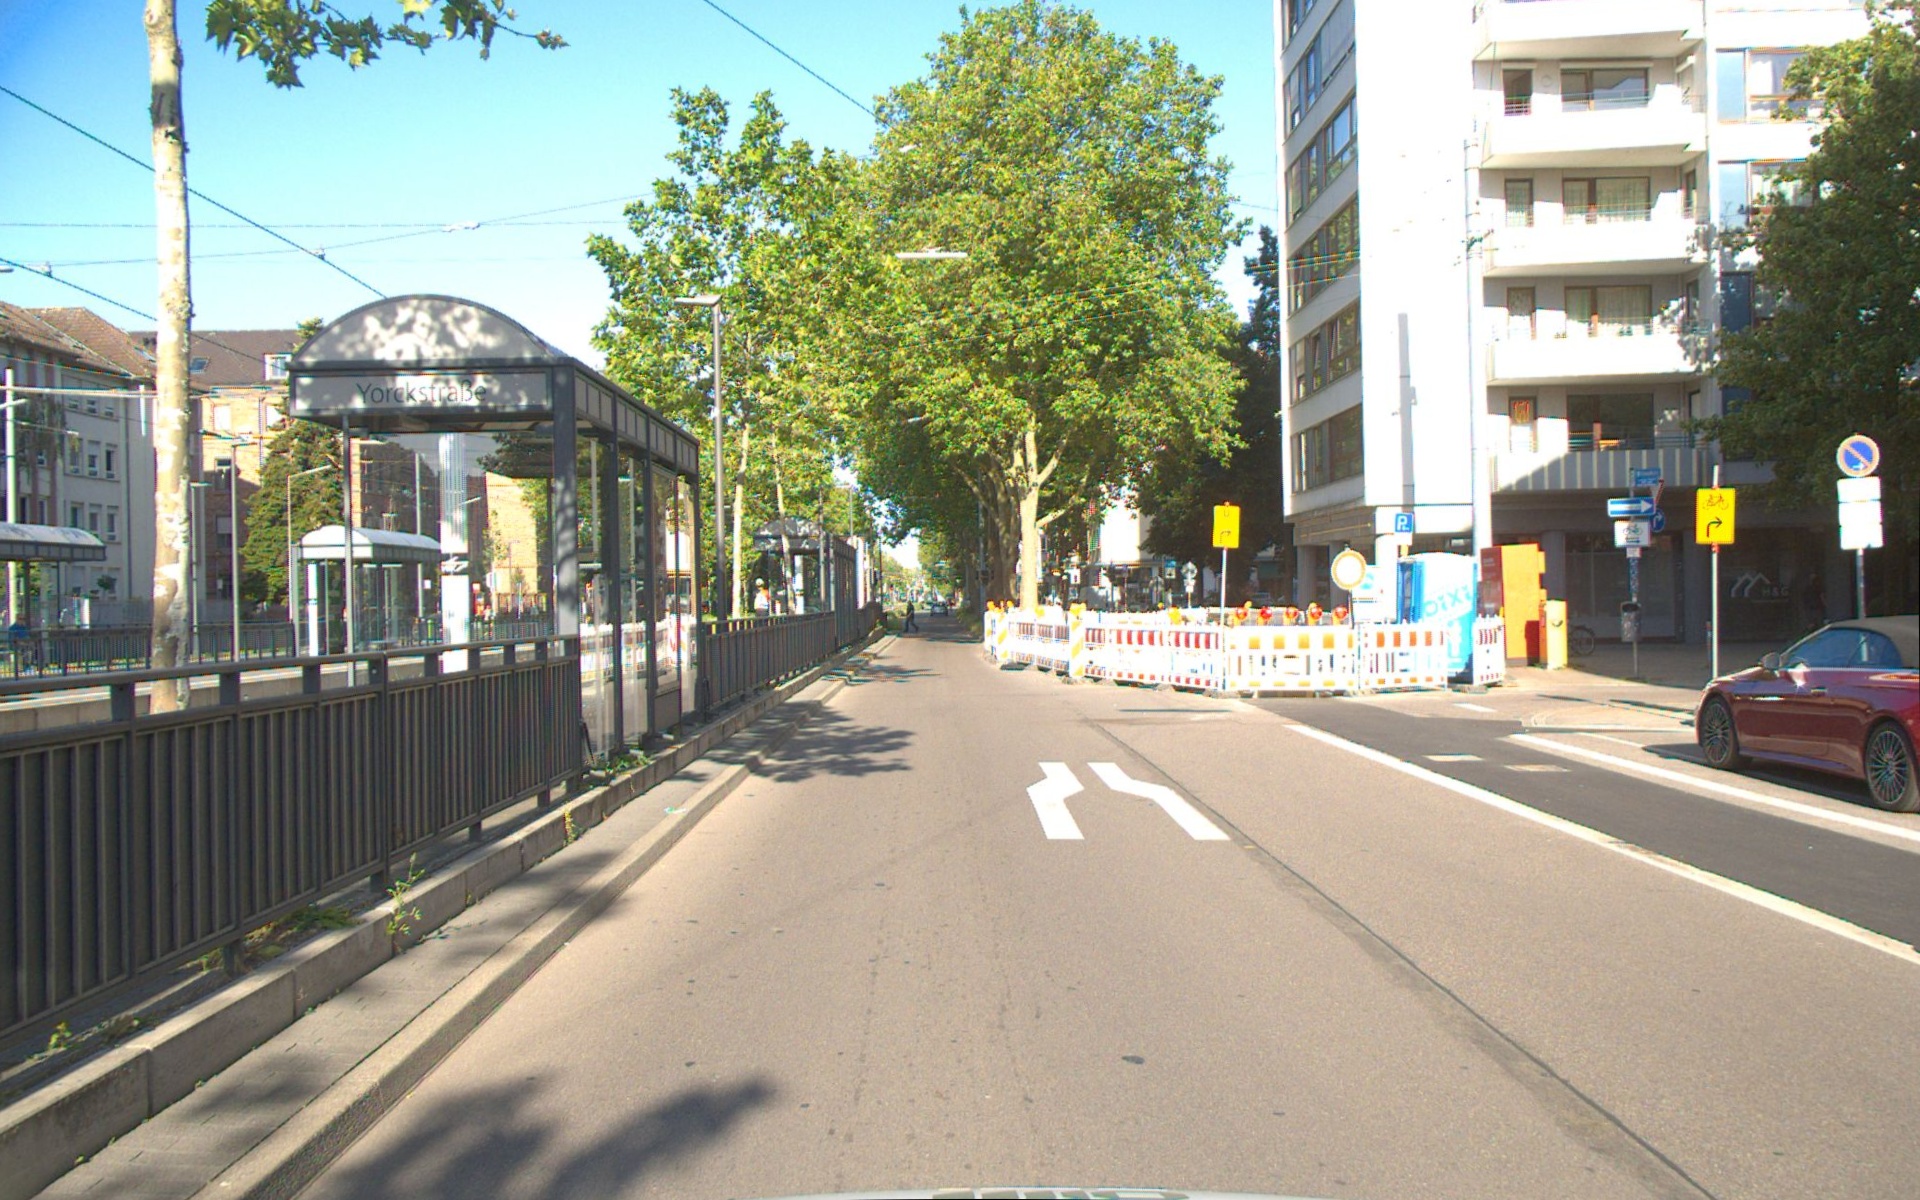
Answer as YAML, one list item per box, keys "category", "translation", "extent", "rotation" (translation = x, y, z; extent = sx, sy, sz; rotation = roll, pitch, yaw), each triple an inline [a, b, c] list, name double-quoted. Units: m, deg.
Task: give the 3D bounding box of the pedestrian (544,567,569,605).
- category: "pedestrian"
  translation: [-19.082, -0.675, 78.203]
  extent: [0.933, 1.766, 0.730]
  rotation: [-1, 0, 1]

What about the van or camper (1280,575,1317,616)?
- category: "van or camper"
  translation: [23.228, -0.318, 113.336]
  extent: [2.101, 2.682, 5.592]
  rotation: [-1, 0, 15]

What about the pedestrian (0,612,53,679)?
- category: "pedestrian"
  translation: [-20.193, 0.966, 35.523]
  extent: [0.955, 1.400, 0.879]
  rotation: [-1, 0, -2]

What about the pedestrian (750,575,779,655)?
- category: "pedestrian"
  translation: [-5.105, 0.382, 43.134]
  extent: [0.654, 2.049, 0.716]
  rotation: [0, 0, 0]

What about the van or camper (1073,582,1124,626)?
- category: "van or camper"
  translation: [7.694, 0.225, 92.368]
  extent: [2.244, 2.326, 5.821]
  rotation: [-1, 0, -1]

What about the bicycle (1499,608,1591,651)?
- category: "bicycle"
  translation: [13.516, 0.688, 38.279]
  extent: [1.985, 0.959, 1.018]
  rotation: [-1, 0, 19]

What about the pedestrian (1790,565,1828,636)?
- category: "pedestrian"
  translation: [22.991, 0.022, 44.798]
  extent: [0.642, 1.887, 0.678]
  rotation: [2, -1, 1]

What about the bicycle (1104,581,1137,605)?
- category: "bicycle"
  translation: [8.589, -0.366, 88.606]
  extent: [1.572, 1.285, 0.962]
  rotation: [-1, 0, -6]

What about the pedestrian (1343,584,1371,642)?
- category: "pedestrian"
  translation: [12.742, 0.410, 53.051]
  extent: [0.676, 1.847, 0.665]
  rotation: [-2, 0, -1]

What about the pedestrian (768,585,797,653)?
- category: "pedestrian"
  translation: [-4.769, 0.504, 44.500]
  extent: [0.668, 1.815, 0.754]
  rotation: [0, 0, 0]

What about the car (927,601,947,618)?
- category: "car"
  translation: [-2.293, 0.956, 167.436]
  extent: [1.980, 1.691, 3.999]
  rotation: [-1, 0, -1]

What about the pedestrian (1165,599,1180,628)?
- category: "pedestrian"
  translation: [12.082, 0.755, 94.012]
  extent: [0.717, 1.644, 1.035]
  rotation: [-1, 0, -1]

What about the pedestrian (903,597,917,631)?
- category: "pedestrian"
  translation: [-2.563, 0.730, 85.384]
  extent: [0.697, 1.710, 0.772]
  rotation: [-1, 0, -2]

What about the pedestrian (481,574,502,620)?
- category: "pedestrian"
  translation: [-21.084, -0.132, 74.433]
  extent: [0.649, 2.049, 0.860]
  rotation: [-1, 0, -2]

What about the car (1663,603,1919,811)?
- category: "car"
  translation: [7.850, 0.778, 13.719]
  extent: [1.833, 1.468, 5.159]
  rotation: [-1, 0, 0]

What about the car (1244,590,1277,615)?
- category: "car"
  translation: [20.674, 0.185, 113.792]
  extent: [1.951, 1.656, 4.393]
  rotation: [-1, 0, 14]
